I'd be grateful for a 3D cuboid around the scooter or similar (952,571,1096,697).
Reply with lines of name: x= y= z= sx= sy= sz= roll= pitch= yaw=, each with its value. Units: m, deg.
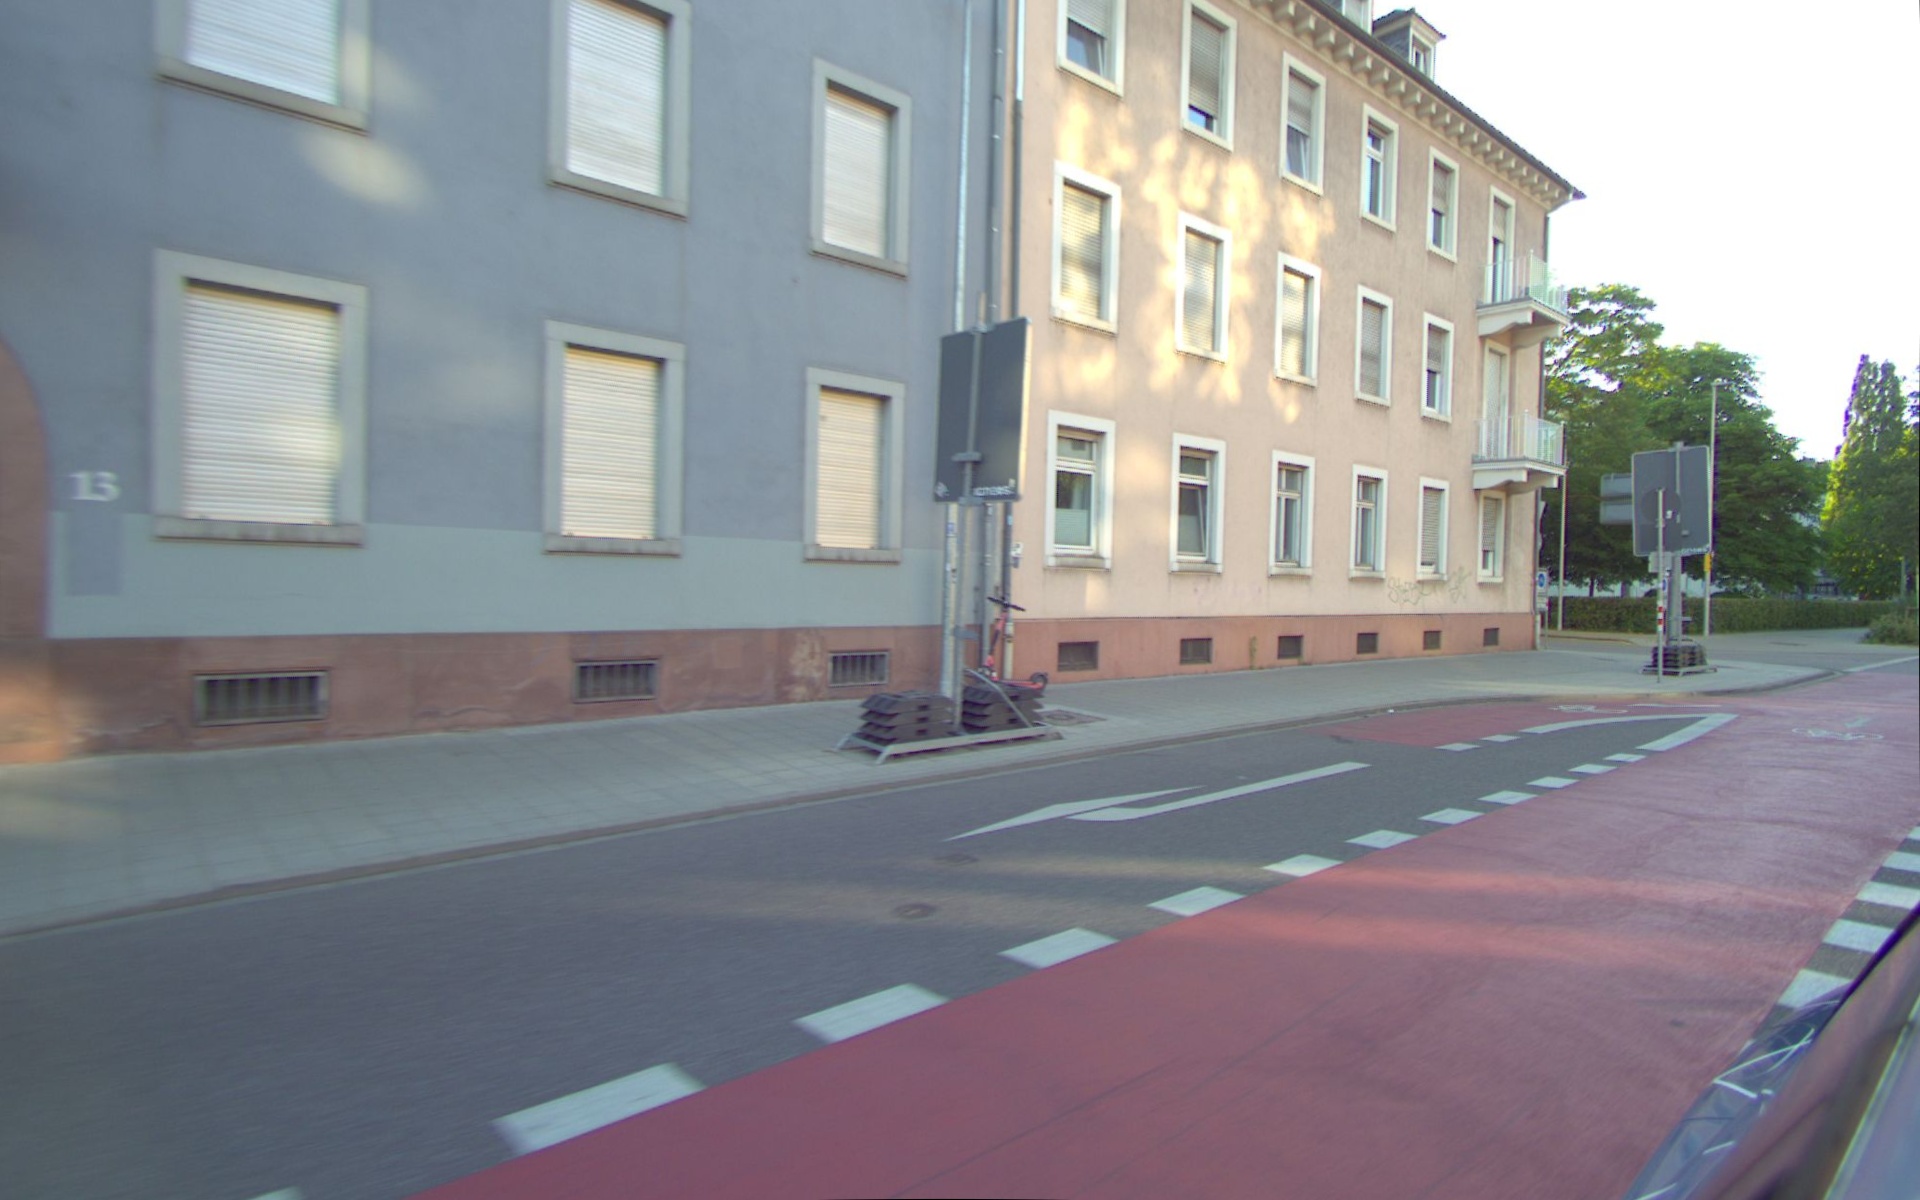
scooter or similar: x=0.819 y=0.404 z=12.809 sx=1.639 sy=1.476 sz=0.729 roll=1 pitch=3 yaw=-32
